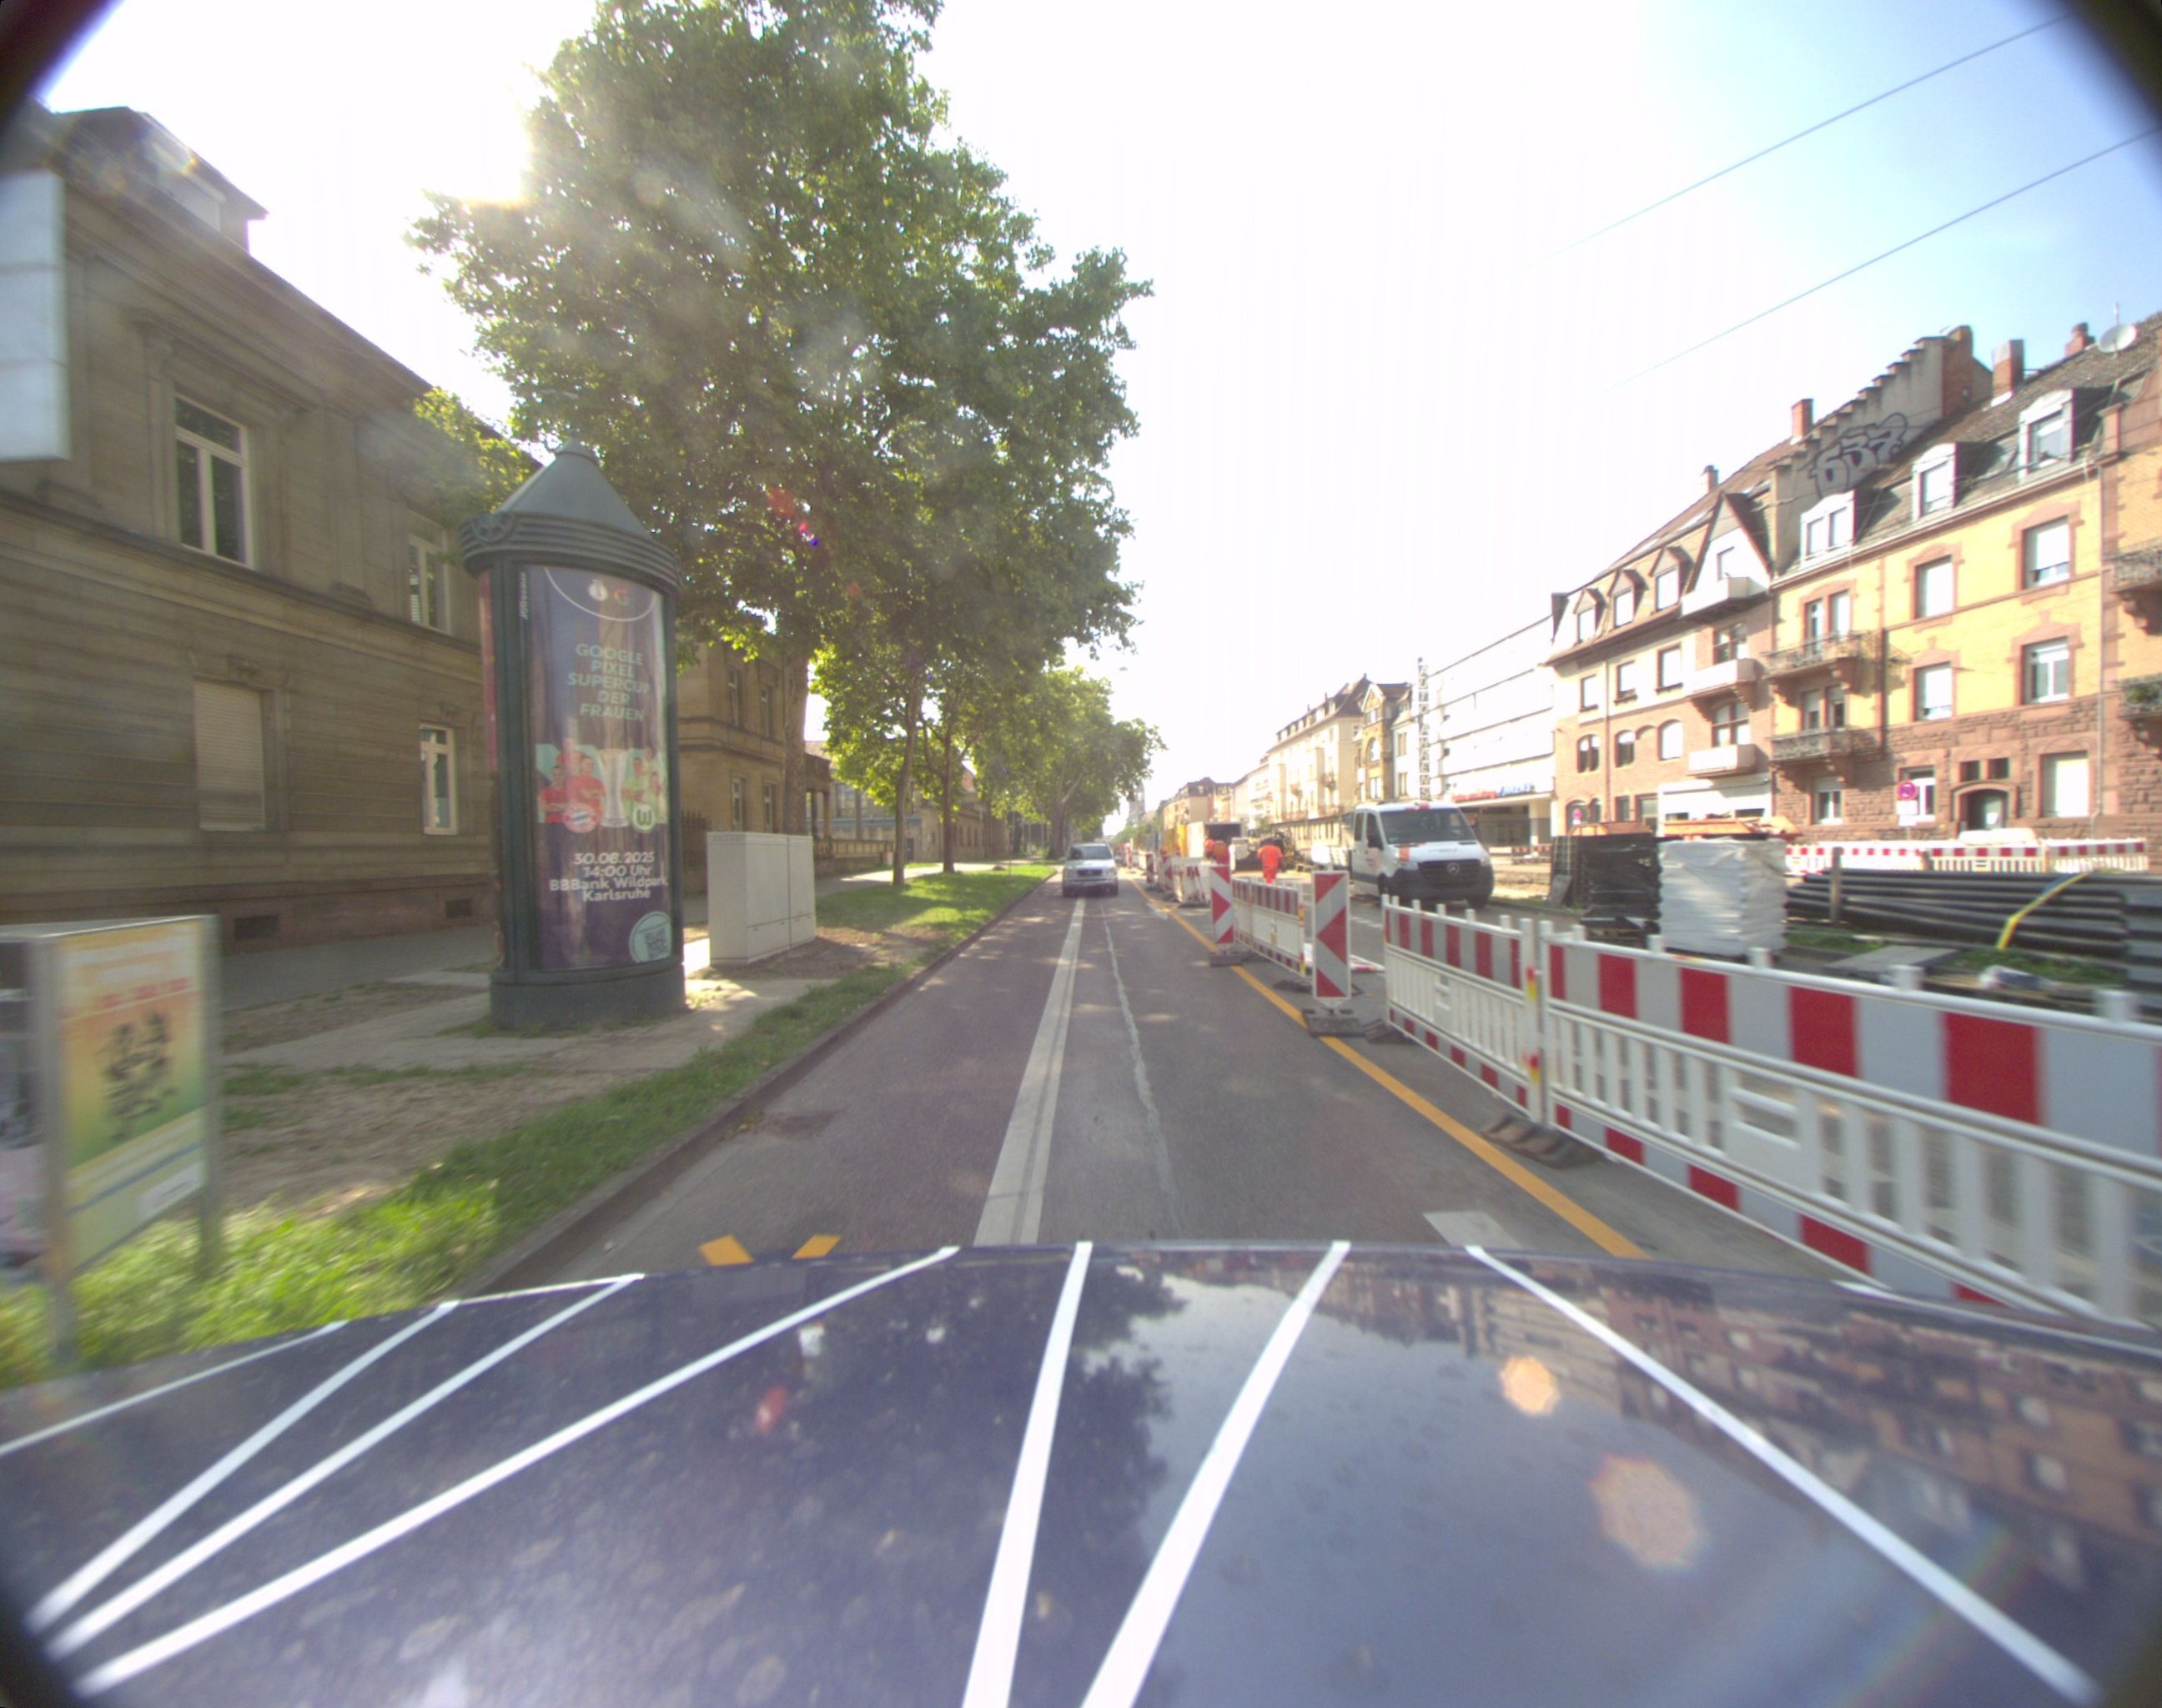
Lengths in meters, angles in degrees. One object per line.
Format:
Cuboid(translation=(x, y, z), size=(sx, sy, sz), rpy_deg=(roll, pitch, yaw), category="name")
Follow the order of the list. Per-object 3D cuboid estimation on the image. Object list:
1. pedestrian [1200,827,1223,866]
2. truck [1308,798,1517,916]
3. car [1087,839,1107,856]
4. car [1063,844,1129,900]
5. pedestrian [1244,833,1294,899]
Cuboid(translation=(6.933, -0.422, 40.321), size=(0.909, 2.003, 0.913), rpy_deg=(-2, 3, 27), category="pedestrian")
Cuboid(translation=(7.293, -0.016, 17.868), size=(2.163, 2.209, 7.050), rpy_deg=(-1, 1, 3), category="truck")
Cuboid(translation=(1.690, -0.673, 79.089), size=(1.998, 1.686, 5.225), rpy_deg=(-1, 1, 2), category="car")
Cuboid(translation=(0.494, 0.512, 25.831), size=(1.998, 1.686, 5.224), rpy_deg=(-1, 1, 1), category="car")
Cuboid(translation=(4.980, 0.291, 20.180), size=(1.034, 1.701, 1.095), rpy_deg=(-1, 2, -1), category="pedestrian")
